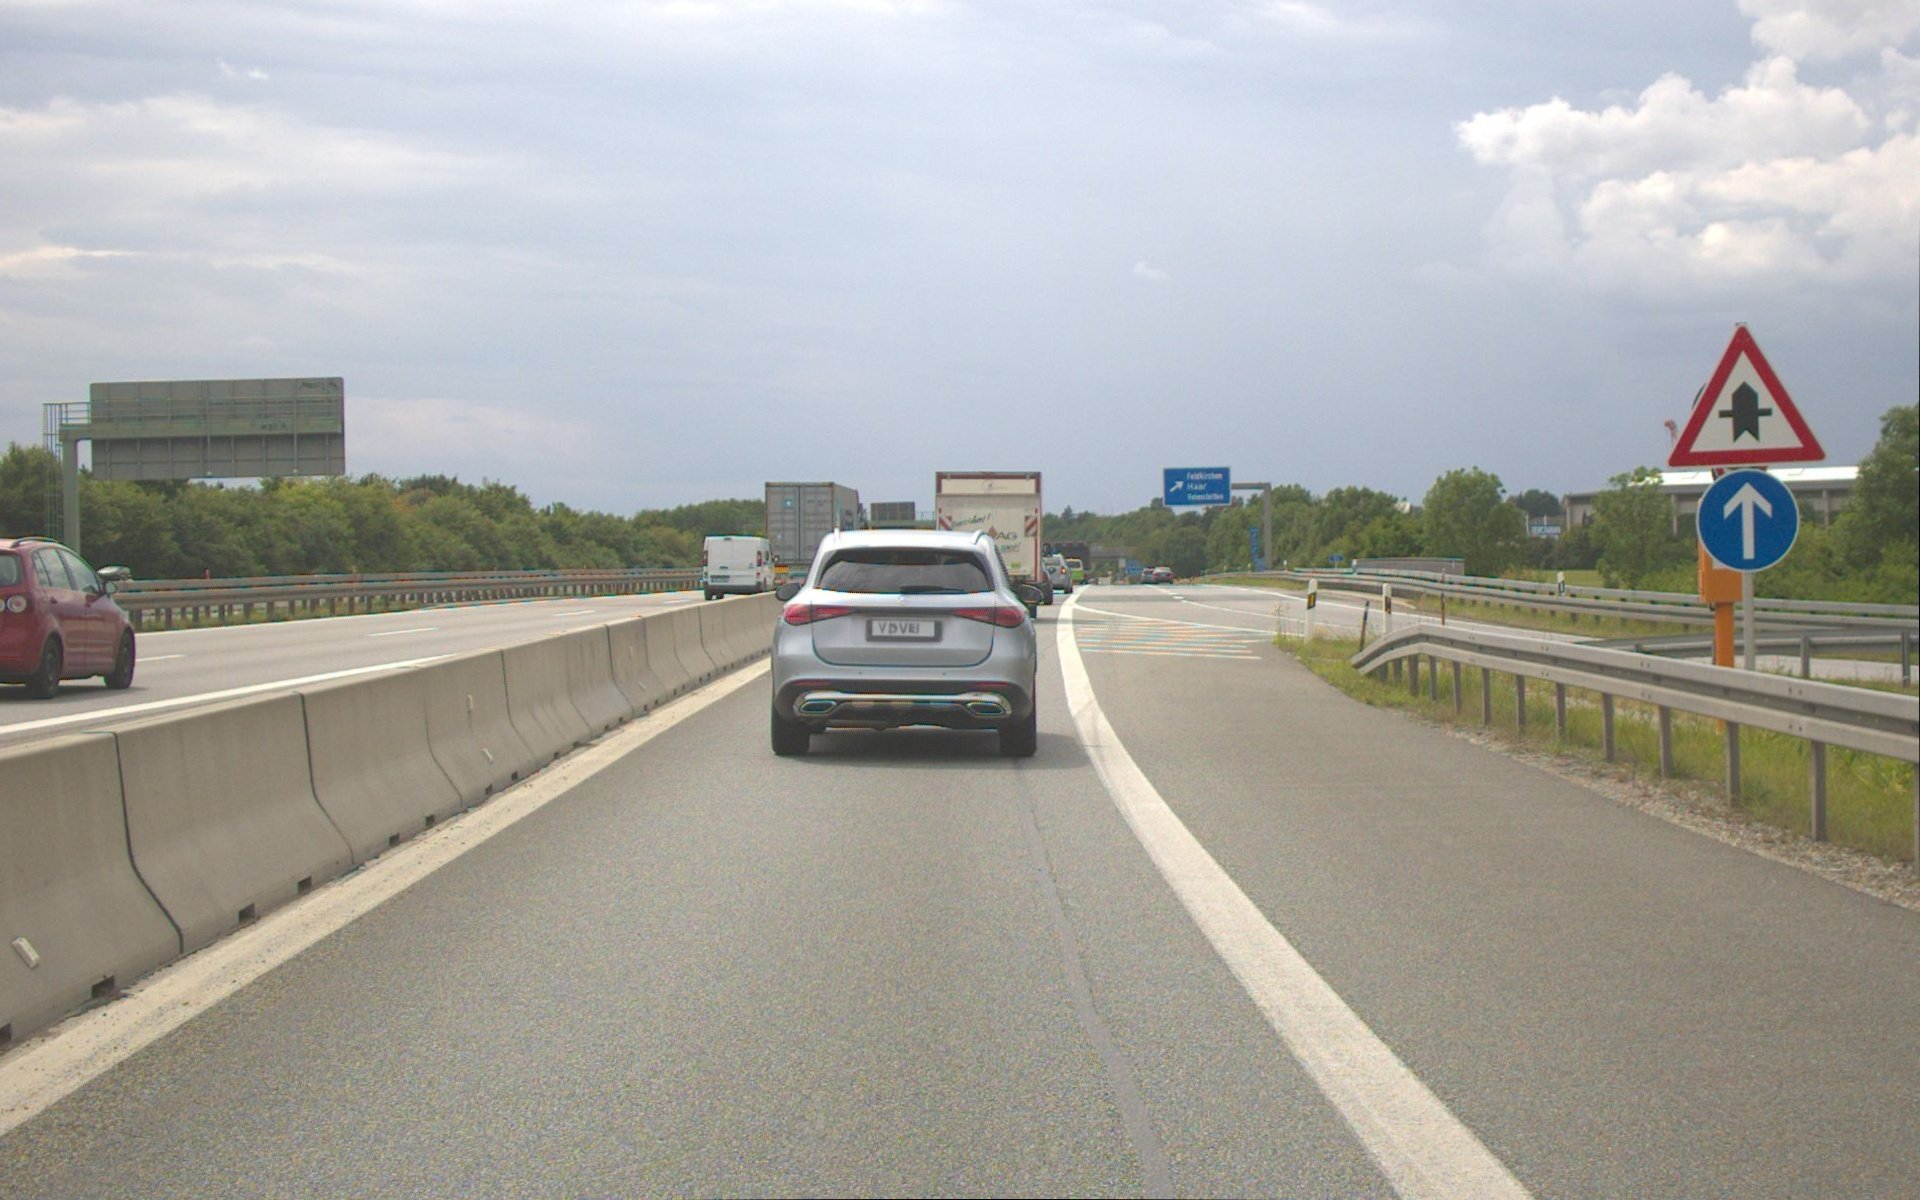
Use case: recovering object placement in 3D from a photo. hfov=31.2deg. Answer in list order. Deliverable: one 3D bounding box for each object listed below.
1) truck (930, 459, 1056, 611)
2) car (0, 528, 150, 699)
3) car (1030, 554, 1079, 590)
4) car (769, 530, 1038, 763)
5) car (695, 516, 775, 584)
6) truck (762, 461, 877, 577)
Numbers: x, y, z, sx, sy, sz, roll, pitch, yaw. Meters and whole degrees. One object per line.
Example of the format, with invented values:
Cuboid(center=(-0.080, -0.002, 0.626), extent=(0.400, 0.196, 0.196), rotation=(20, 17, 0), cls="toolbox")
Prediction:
Cuboid(center=(0.734, -1.396, 75.465), extent=(2.569, 3.115, 8.634), rotation=(1, 1, 1), cls="truck")
Cuboid(center=(-9.666, 0.082, 34.816), extent=(1.819, 1.540, 4.355), rotation=(1, 2, 1), cls="car")
Cuboid(center=(3.531, -1.067, 127.871), extent=(1.696, 1.284, 4.000), rotation=(1, 1, 3), cls="car")
Cuboid(center=(-0.366, 0.275, 25.480), extent=(1.819, 1.509, 4.000), rotation=(1, 2, 1), cls="car")
Cuboid(center=(-6.979, -1.568, 106.960), extent=(1.994, 2.006, 4.374), rotation=(1, 2, 3), cls="car")
Cuboid(center=(-5.113, -3.134, 128.660), extent=(3.183, 4.005, 16.076), rotation=(1, 2, 2), cls="truck")
